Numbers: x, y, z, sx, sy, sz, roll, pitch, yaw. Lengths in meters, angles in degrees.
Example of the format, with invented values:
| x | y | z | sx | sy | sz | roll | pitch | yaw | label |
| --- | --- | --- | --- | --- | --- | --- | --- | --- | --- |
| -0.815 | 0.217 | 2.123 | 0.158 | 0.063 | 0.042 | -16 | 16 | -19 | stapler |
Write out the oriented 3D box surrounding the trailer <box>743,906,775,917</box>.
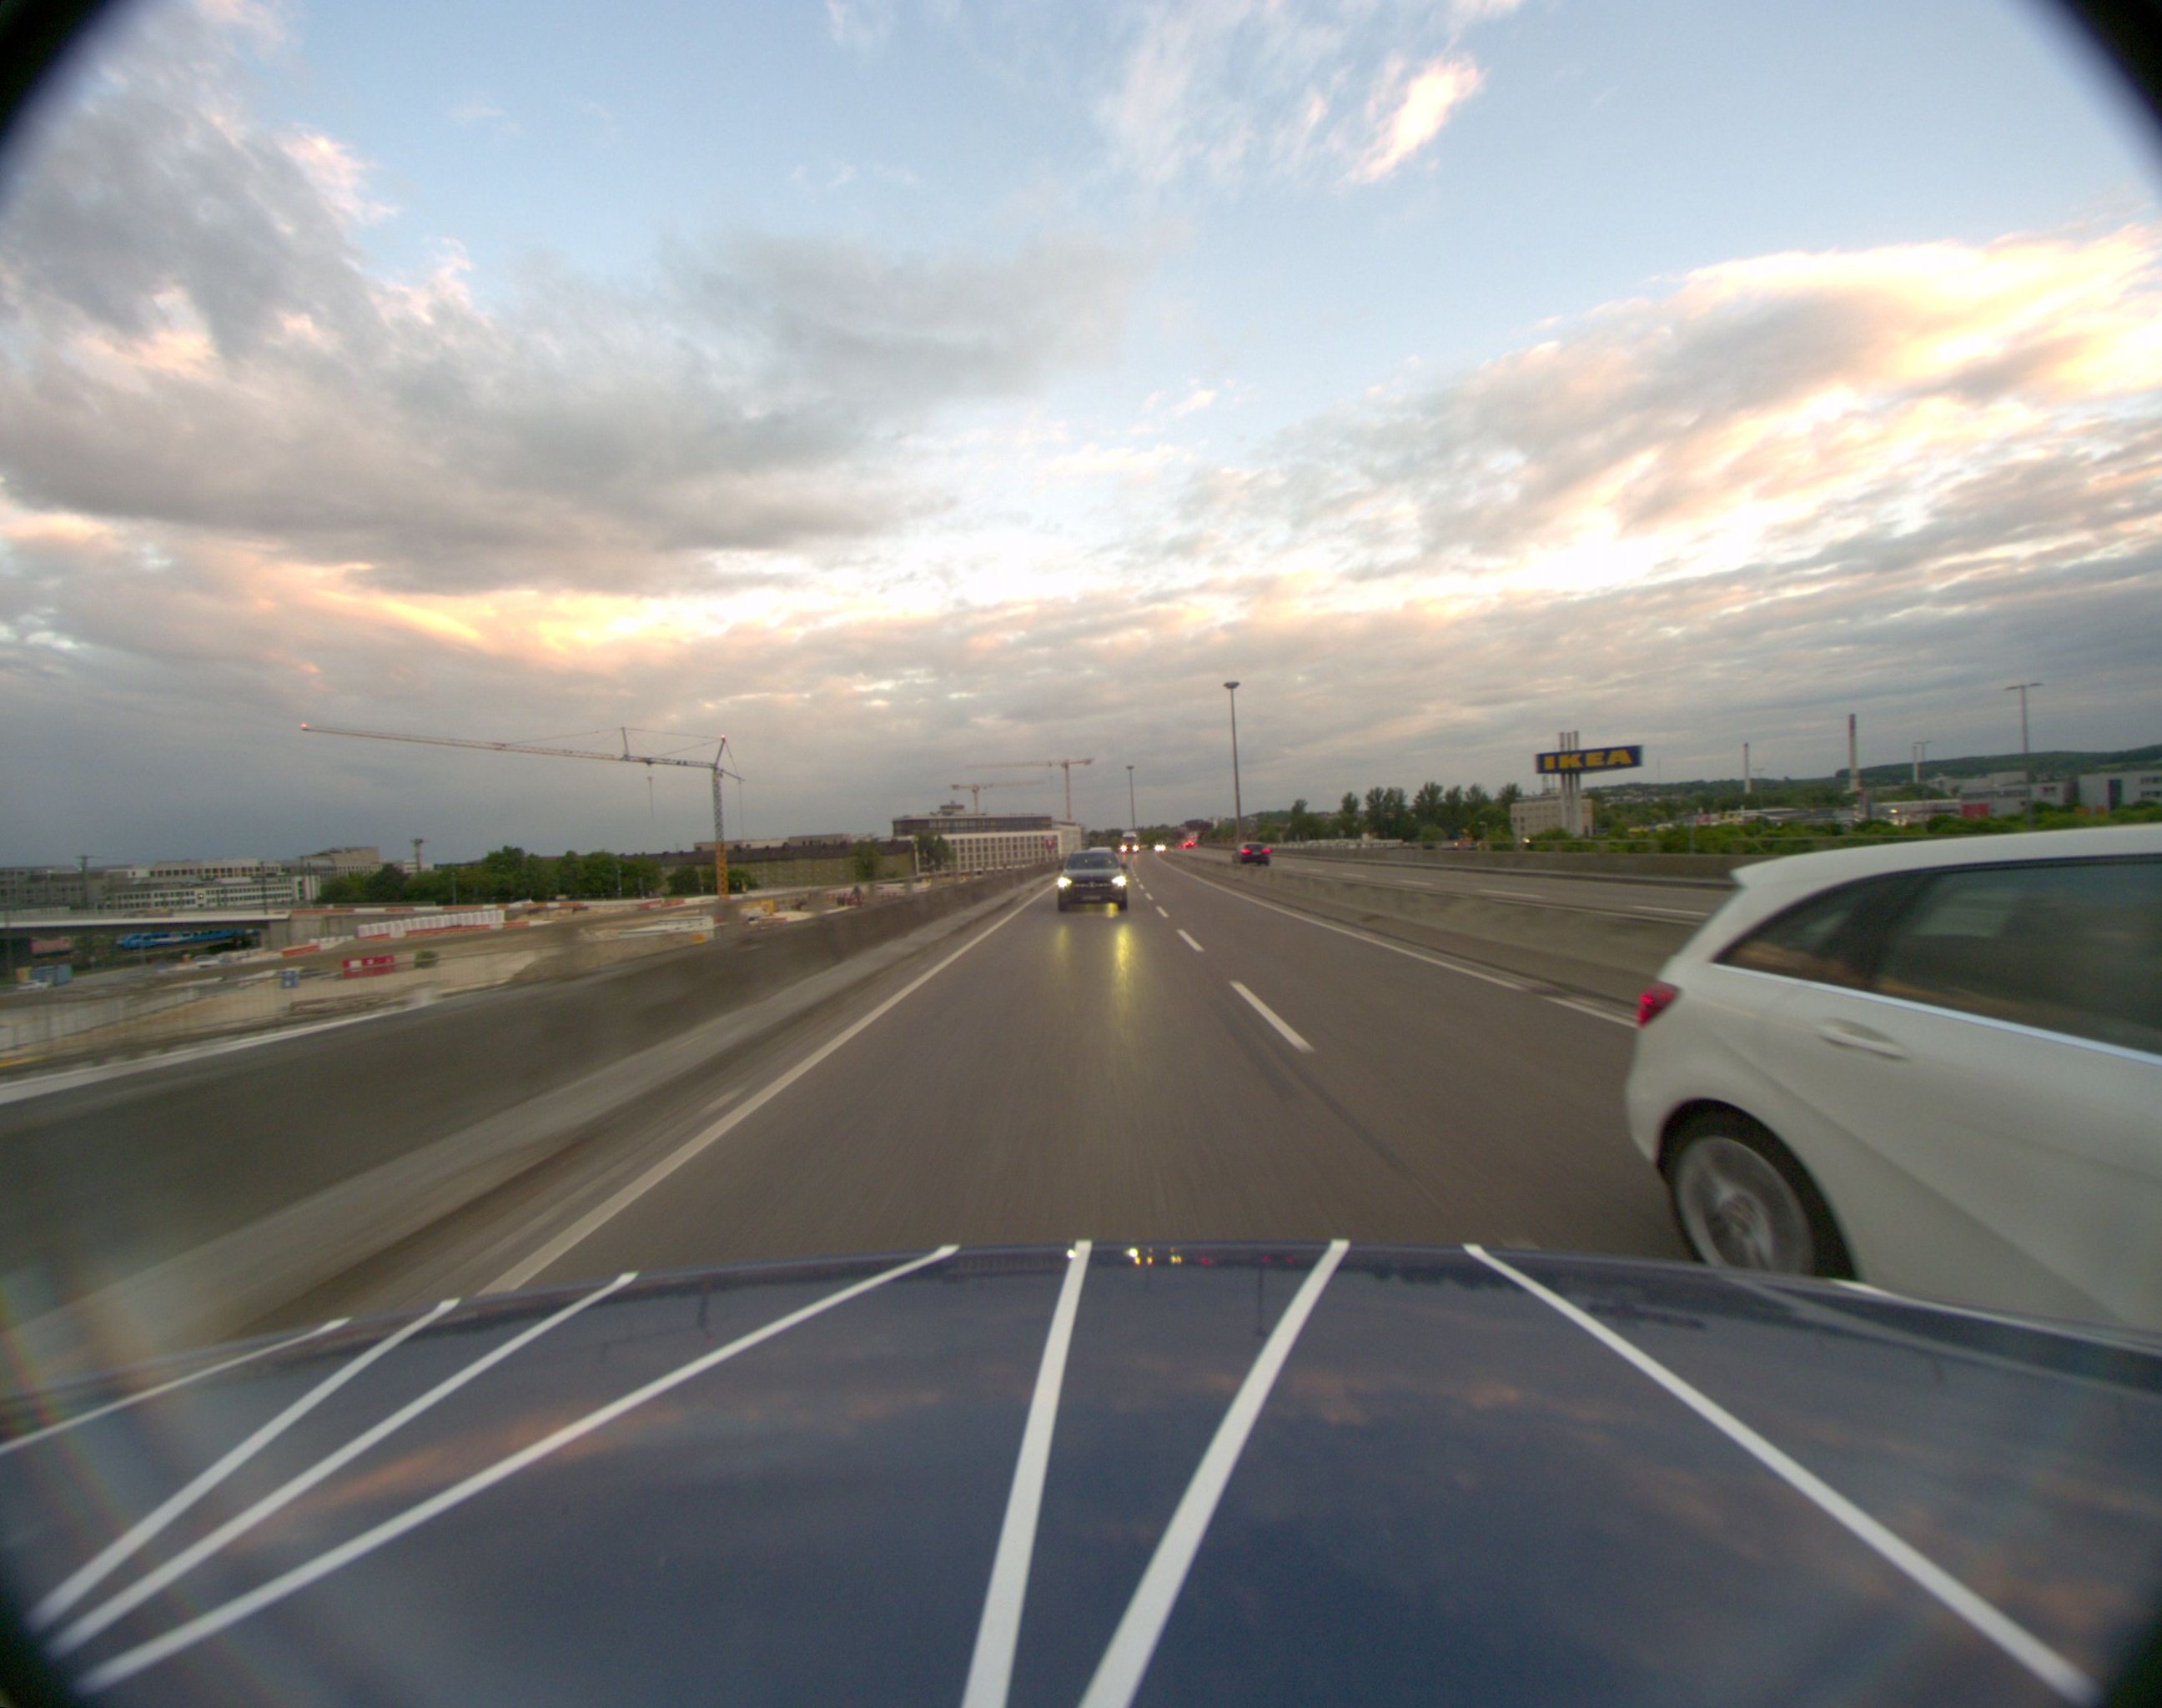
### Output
| x | y | z | sx | sy | sz | roll | pitch | yaw | label |
| --- | --- | --- | --- | --- | --- | --- | --- | --- | --- |
| -49.990 | 8.986 | 118.165 | 1.780 | 1.234 | 4.259 | -4 | 0 | 32 | trailer |

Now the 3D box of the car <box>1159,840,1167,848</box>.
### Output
| x | y | z | sx | sy | sz | roll | pitch | yaw | label |
| --- | --- | --- | --- | --- | --- | --- | --- | --- | --- |
| 23.689 | -2.899 | 219.006 | 1.997 | 2.002 | 4.002 | -2 | 1 | 9 | car |

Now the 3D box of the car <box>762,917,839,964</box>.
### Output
| x | y | z | sx | sy | sz | roll | pitch | yaw | label |
| --- | --- | --- | --- | --- | --- | --- | --- | --- | --- |
| -11.595 | 3.535 | 31.674 | 1.754 | 1.482 | 4.000 | -2 | -1 | -1 | car |

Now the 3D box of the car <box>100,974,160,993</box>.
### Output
| x | y | z | sx | sy | sz | roll | pitch | yaw | label |
| --- | --- | --- | --- | --- | --- | --- | --- | --- | --- |
| -123.433 | 16.825 | 98.707 | 4.350 | 1.512 | 1.867 | -5 | 2 | -32 | car |

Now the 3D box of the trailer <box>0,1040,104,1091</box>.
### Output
| x | y | z | sx | sy | sz | roll | pitch | yaw | label |
| --- | --- | --- | --- | --- | --- | --- | --- | --- | --- |
| -60.628 | 12.386 | 44.352 | 1.999 | 1.793 | 3.843 | -8 | 0 | -3 | trailer |

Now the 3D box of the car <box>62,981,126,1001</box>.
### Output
| x | y | z | sx | sy | sz | roll | pitch | yaw | label |
| --- | --- | --- | --- | --- | --- | --- | --- | --- | --- |
| -121.563 | 16.869 | 93.666 | 4.350 | 1.512 | 1.867 | -5 | 2 | -32 | car |

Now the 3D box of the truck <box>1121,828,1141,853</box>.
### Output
| x | y | z | sx | sy | sz | roll | pitch | yaw | label |
| --- | --- | --- | --- | --- | --- | --- | --- | --- | --- |
| 9.160 | -2.479 | 138.785 | 3.164 | 4.369 | 8.795 | -2 | 1 | 7 | truck |

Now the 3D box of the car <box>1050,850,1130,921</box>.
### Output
| x | y | z | sx | sy | sz | roll | pitch | yaw | label |
| --- | --- | --- | --- | --- | --- | --- | --- | --- | --- |
| 0.279 | 0.732 | 19.787 | 1.823 | 1.602 | 4.213 | -1 | 1 | 2 | car |

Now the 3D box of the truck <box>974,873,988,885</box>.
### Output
| x | y | z | sx | sy | sz | roll | pitch | yaw | label |
| --- | --- | --- | --- | --- | --- | --- | --- | --- | --- |
| -27.046 | 6.807 | 205.384 | 2.163 | 2.930 | 7.338 | -5 | 0 | 2 | truck |

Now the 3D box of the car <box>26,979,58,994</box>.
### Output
| x | y | z | sx | sy | sz | roll | pitch | yaw | label |
| --- | --- | --- | --- | --- | --- | --- | --- | --- | --- |
| -142.457 | 18.127 | 104.222 | 1.440 | 1.567 | 3.678 | -9 | 0 | -37 | car |

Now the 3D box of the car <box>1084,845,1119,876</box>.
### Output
| x | y | z | sx | sy | sz | roll | pitch | yaw | label |
| --- | --- | --- | --- | --- | --- | --- | --- | --- | --- |
| 1.217 | 0.377 | 43.856 | 1.891 | 1.641 | 4.345 | -2 | 0 | 3 | car |

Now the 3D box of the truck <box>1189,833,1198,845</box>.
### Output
| x | y | z | sx | sy | sz | roll | pitch | yaw | label |
| --- | --- | --- | --- | --- | --- | --- | --- | --- | --- |
| 32.059 | -4.240 | 216.548 | 2.539 | 3.278 | 7.449 | -2 | 1 | 8 | truck |

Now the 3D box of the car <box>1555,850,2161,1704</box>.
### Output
| x | y | z | sx | sy | sz | roll | pitch | yaw | label |
| --- | --- | --- | --- | --- | --- | --- | --- | --- | --- |
| 2.797 | 0.781 | 0.833 | 1.695 | 1.528 | 4.784 | -2 | 0 | 2 | car |

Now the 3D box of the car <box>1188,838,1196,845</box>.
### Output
| x | y | z | sx | sy | sz | roll | pitch | yaw | label |
| --- | --- | --- | --- | --- | --- | --- | --- | --- | --- |
| 28.344 | -3.267 | 193.704 | 1.980 | 1.596 | 4.443 | -2 | 1 | 8 | car |

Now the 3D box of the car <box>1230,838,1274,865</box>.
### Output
| x | y | z | sx | sy | sz | roll | pitch | yaw | label |
| --- | --- | --- | --- | --- | --- | --- | --- | --- | --- |
| 10.259 | -0.169 | 45.862 | 1.833 | 1.472 | 4.287 | -2 | 1 | 2 | car |
